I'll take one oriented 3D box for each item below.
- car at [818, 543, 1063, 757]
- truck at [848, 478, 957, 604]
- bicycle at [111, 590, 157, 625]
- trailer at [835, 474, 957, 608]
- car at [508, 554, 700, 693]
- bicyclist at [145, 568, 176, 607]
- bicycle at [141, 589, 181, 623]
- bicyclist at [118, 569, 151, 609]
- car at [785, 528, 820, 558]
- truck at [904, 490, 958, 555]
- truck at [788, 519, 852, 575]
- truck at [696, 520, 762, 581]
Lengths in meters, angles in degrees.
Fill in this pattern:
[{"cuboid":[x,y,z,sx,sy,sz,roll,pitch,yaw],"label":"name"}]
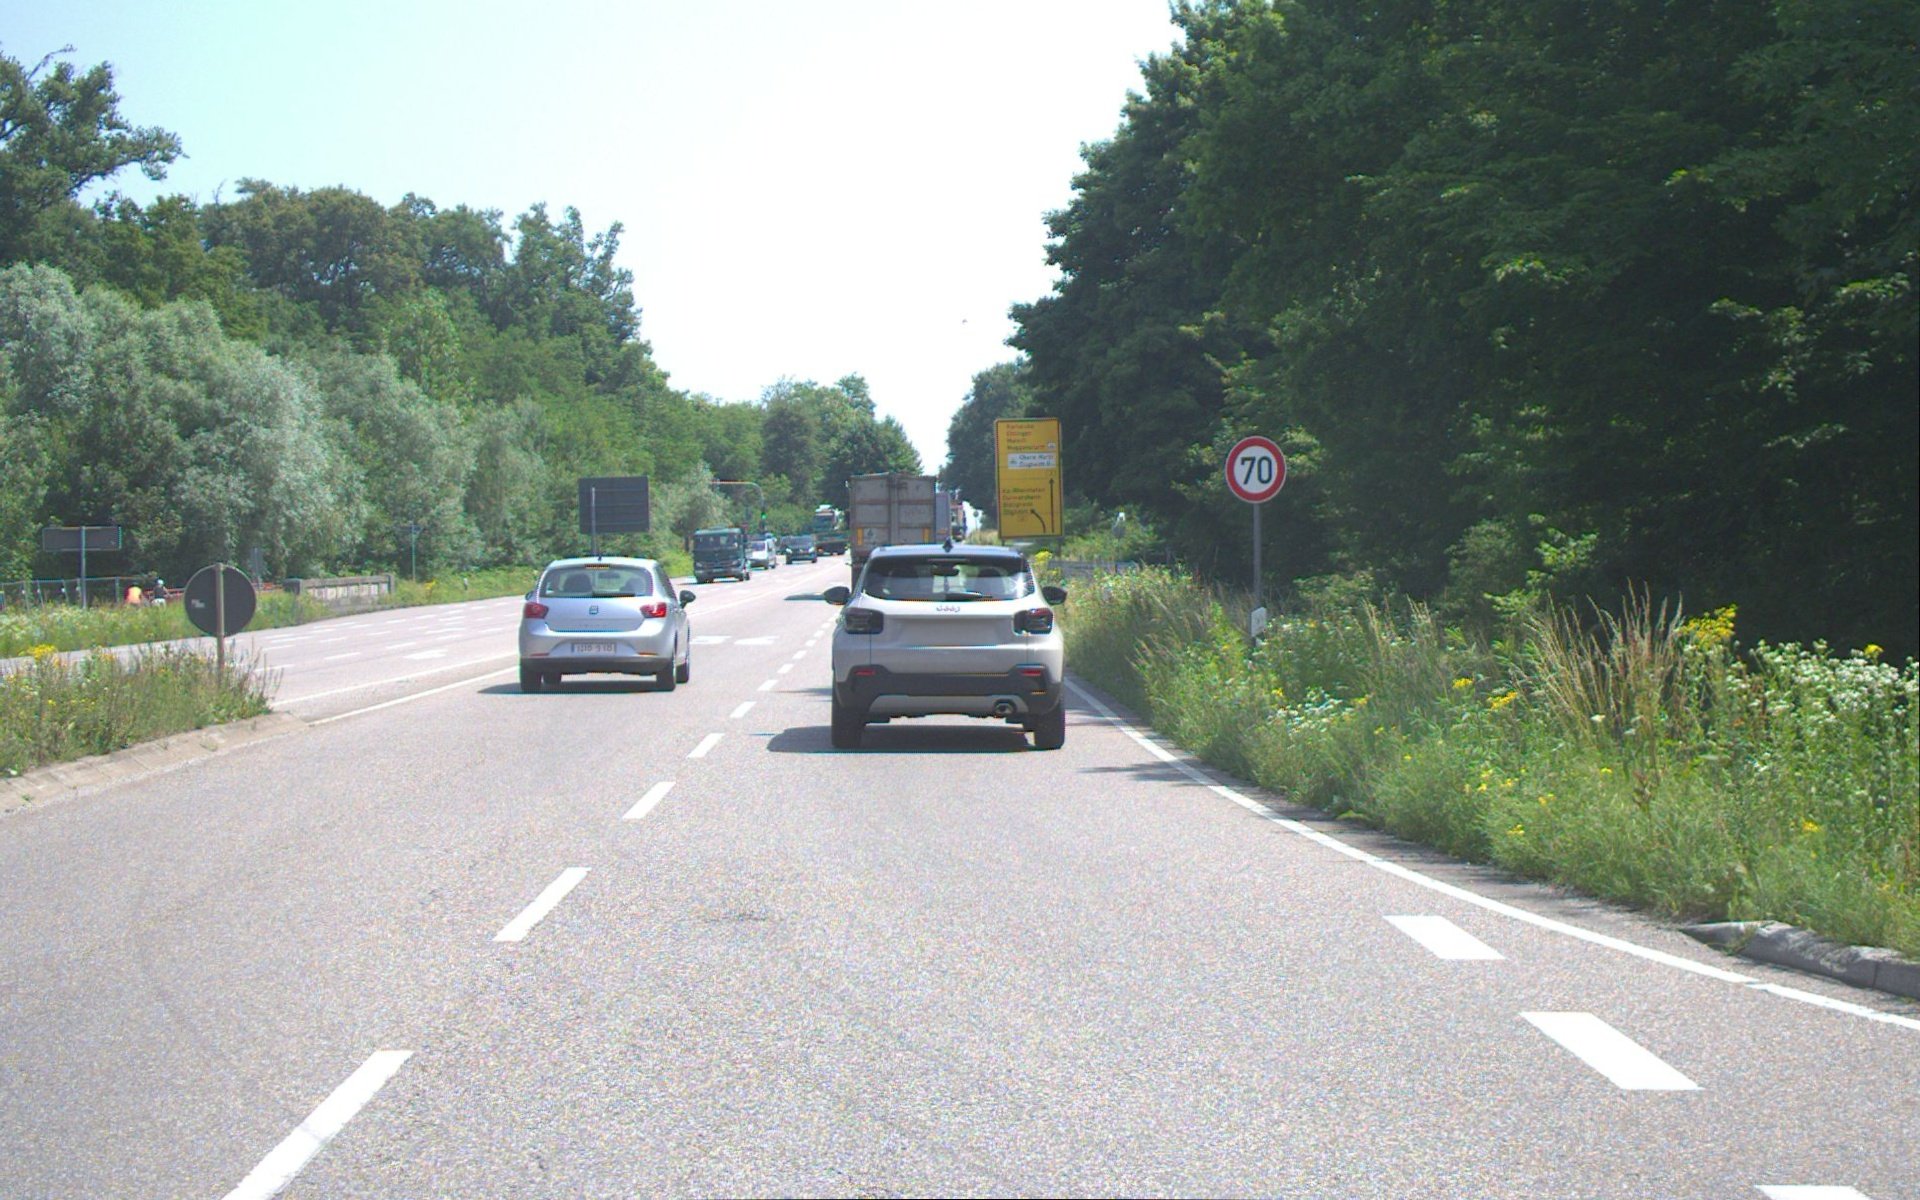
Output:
[{"cuboid":[-0.120,0.334,27.184,1.767,1.529,4.000,-1,1,1],"label":"car"},{"cuboid":[-1.831,-1.916,112.421,3.333,3.975,6.533,0,1,1],"label":"truck"},{"cuboid":[-25.462,0.237,106.036,0.676,1.001,1.800,-2,1,10],"label":"bicycle"},{"cuboid":[-1.897,-1.820,107.165,3.383,3.975,10.804,0,1,1],"label":"trailer"},{"cuboid":[-3.853,0.219,37.735,1.666,1.425,3.828,0,1,1],"label":"car"},{"cuboid":[-25.642,-0.400,110.240,0.735,1.191,0.591,-2,1,11],"label":"bicyclist"},{"cuboid":[-25.601,0.190,110.152,0.604,1.002,1.555,-2,1,11],"label":"bicycle"},{"cuboid":[-25.477,-0.332,106.115,0.757,1.191,0.592,-2,1,11],"label":"bicyclist"},{"cuboid":[-10.233,-3.728,223.529,1.993,1.875,4.960,-2,1,-1],"label":"car"},{"cuboid":[-1.926,-5.062,226.532,3.497,4.173,10.784,0,1,-1],"label":"truck"},{"cuboid":[-10.758,-4.030,263.235,3.645,4.091,9.511,-2,1,-9],"label":"truck"},{"cuboid":[-10.870,-2.377,162.404,2.454,2.647,6.491,-4,1,0],"label":"truck"}]
